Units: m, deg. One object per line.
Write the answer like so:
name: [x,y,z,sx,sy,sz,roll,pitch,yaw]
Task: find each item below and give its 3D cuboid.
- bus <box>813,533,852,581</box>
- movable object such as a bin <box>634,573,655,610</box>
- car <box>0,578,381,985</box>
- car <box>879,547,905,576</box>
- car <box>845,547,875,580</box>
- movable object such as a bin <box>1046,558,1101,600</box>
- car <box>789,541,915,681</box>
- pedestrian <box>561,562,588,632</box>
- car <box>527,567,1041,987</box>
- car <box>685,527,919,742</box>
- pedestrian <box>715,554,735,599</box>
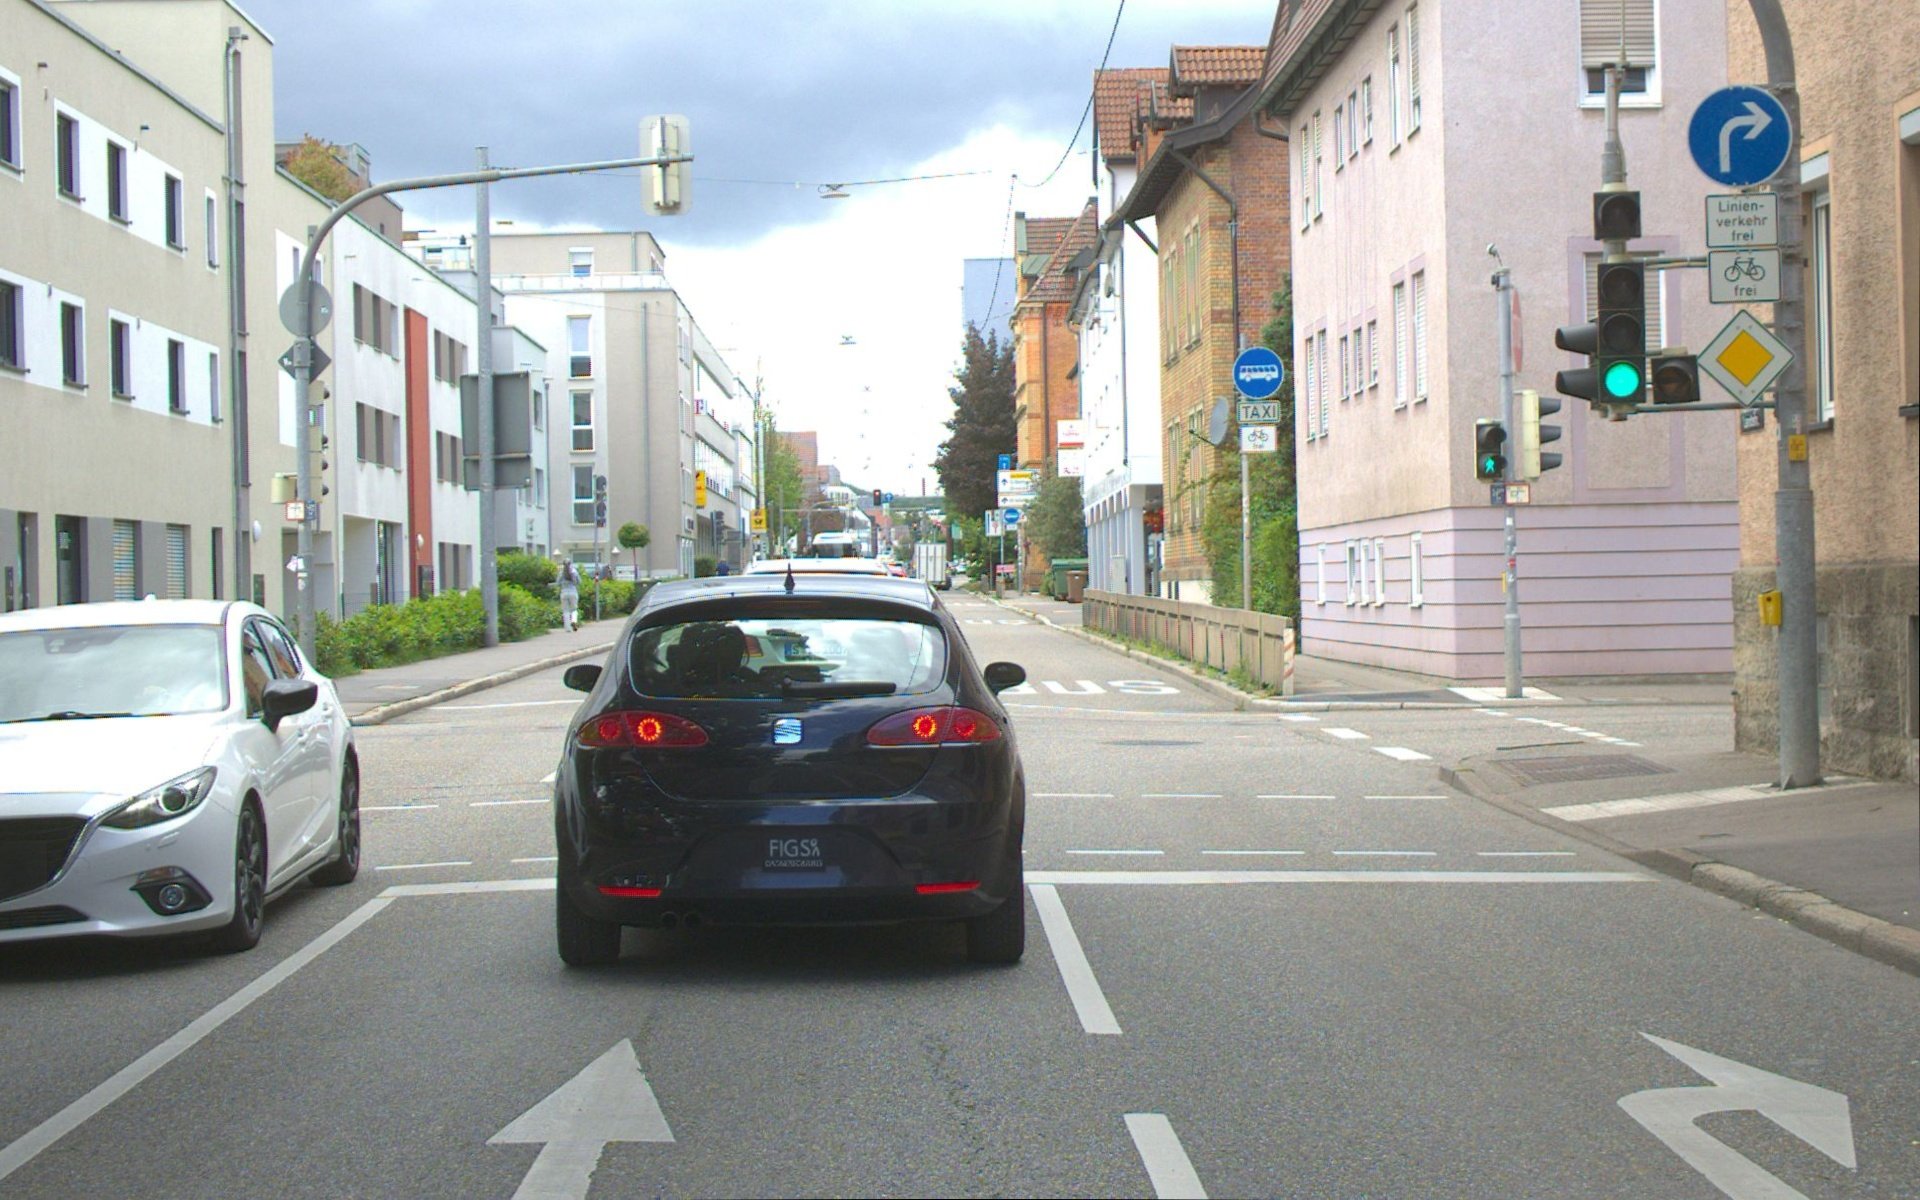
bus: [-7.762,-2.606,210.698,2.210,2.876,8.920,0,0,-1]
movable object such as a bin: [-9.278,-0.242,101.220,0.549,1.075,0.612,0,0,0]
car: [-3.764,0.698,14.870,1.767,1.465,4.227,-4,0,-1]
car: [-4.098,-2.335,207.081,1.531,1.687,3.693,-1,1,-1]
car: [-5.204,-1.906,179.077,1.531,1.687,3.693,-1,1,-1]
movable object such as a bin: [3.889,-0.730,118.367,1.818,1.432,1.993,0,0,0]
car: [-1.363,0.127,43.722,1.531,1.687,3.693,0,0,-1]
pedestrian: [-8.550,-0.058,76.237,0.526,1.542,0.541,0,0,-1]
car: [-0.645,0.605,13.839,1.759,1.437,4.000,0,0,-1]
car: [-1.298,0.267,29.195,1.842,1.687,4.000,0,0,-1]
pedestrian: [-9.002,-0.910,131.551,0.730,1.723,0.859,0,0,-2]
